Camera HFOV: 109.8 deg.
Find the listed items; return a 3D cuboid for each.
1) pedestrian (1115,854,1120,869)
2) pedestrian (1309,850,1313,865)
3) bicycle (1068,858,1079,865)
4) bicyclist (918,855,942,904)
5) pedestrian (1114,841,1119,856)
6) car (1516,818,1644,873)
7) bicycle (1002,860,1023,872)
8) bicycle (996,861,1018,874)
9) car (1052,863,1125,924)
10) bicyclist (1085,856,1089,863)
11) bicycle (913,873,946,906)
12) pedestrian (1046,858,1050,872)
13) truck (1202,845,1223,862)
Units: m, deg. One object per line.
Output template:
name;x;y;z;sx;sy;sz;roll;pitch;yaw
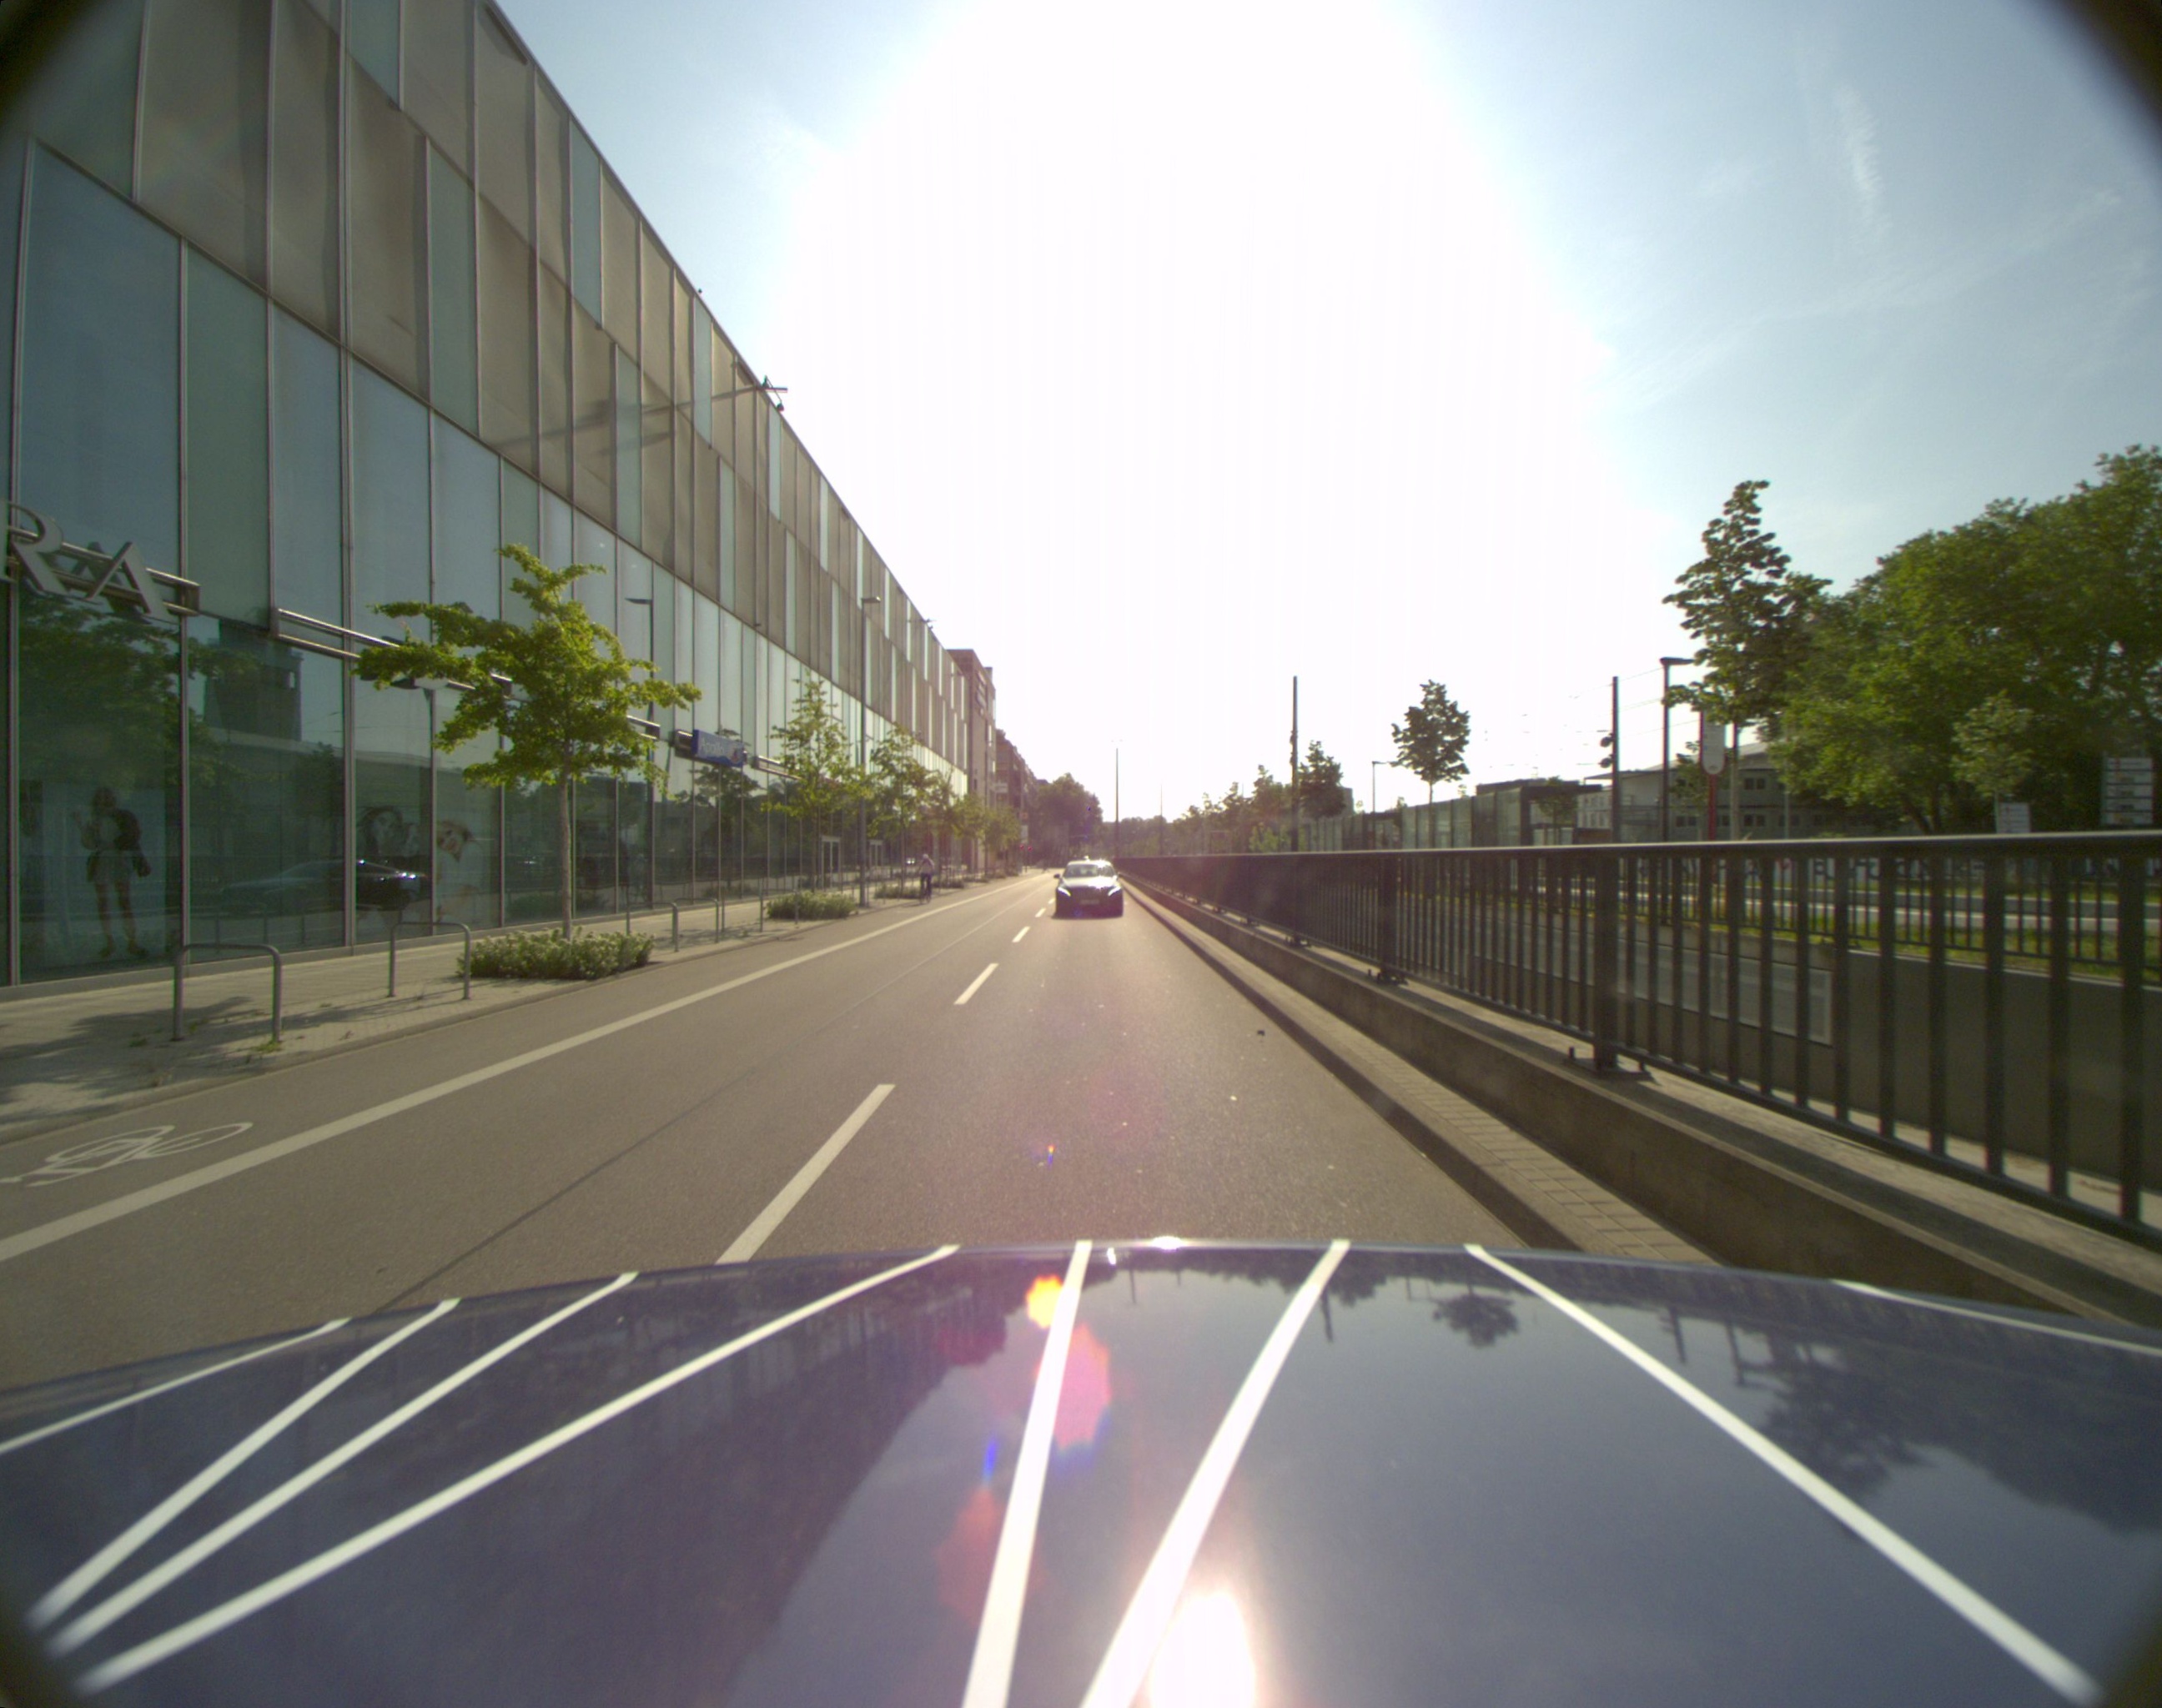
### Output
pedestrian;4.065;0.840;85.040;0.468;1.640;0.777;-1;0;1
pedestrian;25.665;0.349;84.896;0.371;1.666;0.641;-1;1;18
bicycle;-1.370;1.373;140.038;1.831;1.181;0.537;1;0;7
bicyclist;-5.461;0.920;27.497;0.652;1.738;0.769;0;0;4
pedestrian;4.021;-0.623;86.510;0.468;1.640;0.777;-1;0;1
car;34.922;-0.540;53.780;3.061;3.492;9.233;-1;0;1
bicycle;-6.546;1.149;72.832;1.843;1.106;0.687;-2;0;3
bicycle;-6.665;1.216;68.656;1.882;1.103;0.490;0;0;3
car;0.326;0.997;20.979;1.716;1.429;5.058;-1;0;4
bicyclist;1.264;1.128;152.589;0.612;1.504;0.813;0;0;-8
bicycle;-5.458;1.243;27.414;0.662;1.110;2.051;0;0;4
pedestrian;-3.771;1.235;87.096;0.468;1.640;0.777;-1;0;1
truck;27.879;-0.117;161.272;3.029;3.565;8.891;0;0;0
